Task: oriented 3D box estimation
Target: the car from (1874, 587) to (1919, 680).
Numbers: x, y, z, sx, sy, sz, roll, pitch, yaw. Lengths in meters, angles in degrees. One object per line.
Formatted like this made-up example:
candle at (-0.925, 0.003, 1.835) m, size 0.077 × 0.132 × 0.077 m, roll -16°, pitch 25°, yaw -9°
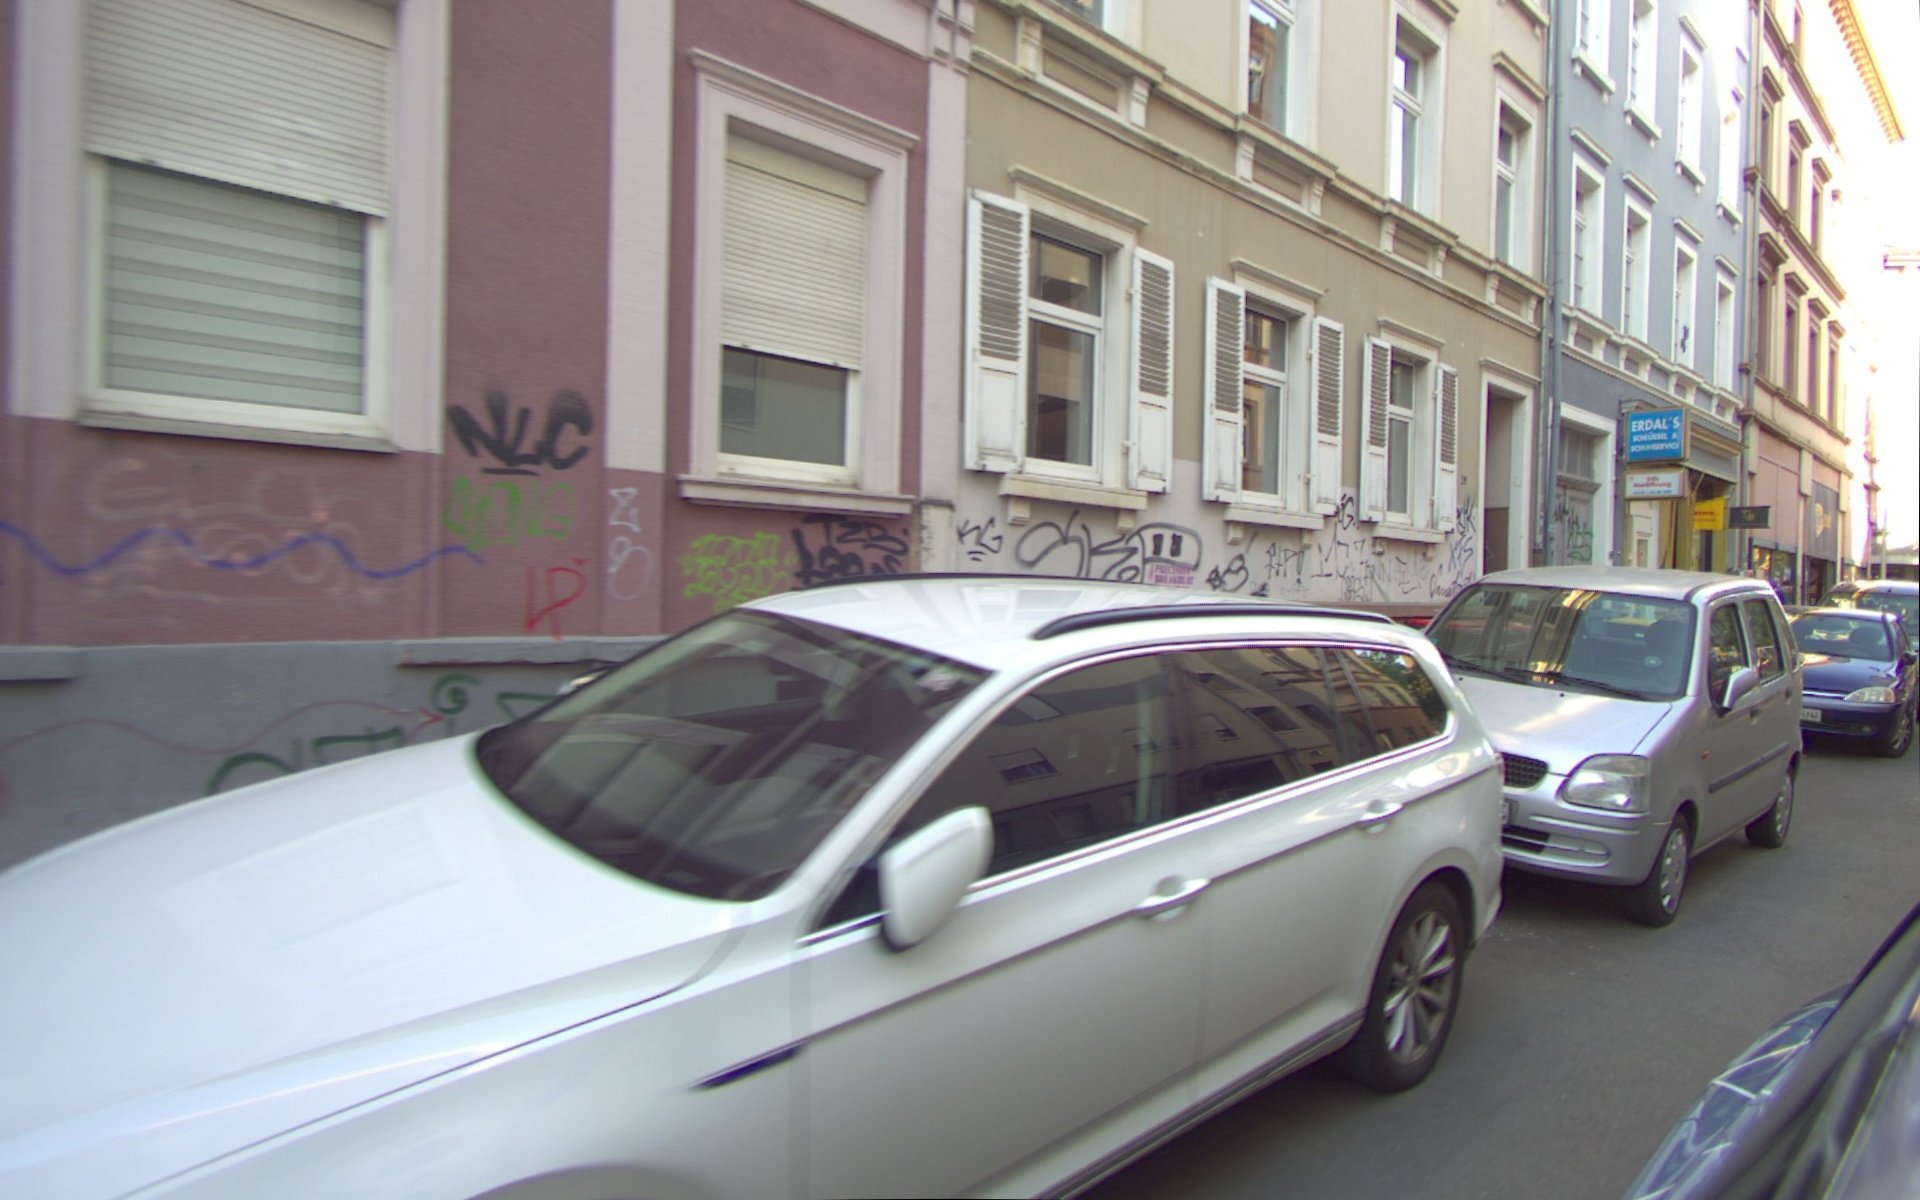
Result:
car at (18.153, 0.607, 18.503) m, size 3.254 × 1.575 × 1.574 m, roll -1°, pitch 4°, yaw -39°

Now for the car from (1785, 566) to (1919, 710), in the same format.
car at (13.520, 0.462, 14.546) m, size 4.240 × 1.816 × 1.902 m, roll -1°, pitch 0°, yaw -41°

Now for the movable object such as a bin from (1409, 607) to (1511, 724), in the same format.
movable object such as a bin at (5.167, 0.652, 10.468) m, size 0.549 × 1.101 × 0.754 m, roll 0°, pitch 3°, yaw -41°

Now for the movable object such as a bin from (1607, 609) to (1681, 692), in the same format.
movable object such as a bin at (9.753, 0.700, 14.428) m, size 0.674 × 1.105 × 0.726 m, roll 0°, pitch 1°, yaw -43°

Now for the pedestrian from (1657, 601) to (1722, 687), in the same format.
pedestrian at (11.348, 0.665, 15.749) m, size 0.617 × 1.293 × 0.677 m, roll 0°, pitch 0°, yaw -39°

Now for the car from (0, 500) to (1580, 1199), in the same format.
car at (0.007, 0.623, 2.896) m, size 4.549 × 1.562 × 1.700 m, roll -1°, pitch 3°, yaw -41°

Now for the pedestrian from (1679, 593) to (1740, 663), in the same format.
pedestrian at (12.471, 0.451, 16.848) m, size 0.642 × 1.139 × 0.677 m, roll 0°, pitch 0°, yaw -39°

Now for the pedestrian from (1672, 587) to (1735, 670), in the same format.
pedestrian at (11.970, 0.437, 16.292) m, size 0.642 × 1.293 × 0.677 m, roll 0°, pitch 0°, yaw -39°

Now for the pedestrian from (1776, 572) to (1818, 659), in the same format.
pedestrian at (17.259, 0.313, 20.876) m, size 0.627 × 1.762 × 0.650 m, roll 0°, pitch 0°, yaw 37°

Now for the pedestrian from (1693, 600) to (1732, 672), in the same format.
pedestrian at (13.260, 0.629, 17.835) m, size 0.505 × 1.238 × 0.439 m, roll 0°, pitch 0°, yaw -39°

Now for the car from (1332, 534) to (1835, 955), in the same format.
car at (3.788, 0.576, 5.923) m, size 3.497 × 1.733 × 1.559 m, roll -1°, pitch 0°, yaw -41°

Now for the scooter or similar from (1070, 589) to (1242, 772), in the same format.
scooter or similar at (1.455, 0.535, 7.409) m, size 1.345 × 1.196 × 0.451 m, roll 0°, pitch 5°, yaw -41°

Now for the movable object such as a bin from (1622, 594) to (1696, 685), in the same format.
movable object such as a bin at (10.293, 0.561, 14.905) m, size 0.570 × 1.259 × 0.763 m, roll 0°, pitch 2°, yaw -43°

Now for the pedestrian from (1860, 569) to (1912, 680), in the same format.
pedestrian at (14.968, 0.390, 16.372) m, size 0.422 × 1.762 × 0.559 m, roll 0°, pitch 0°, yaw 20°

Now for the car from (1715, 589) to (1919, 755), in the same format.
car at (9.651, 0.652, 11.157) m, size 3.551 × 1.530 × 1.554 m, roll -1°, pitch 0°, yaw -44°

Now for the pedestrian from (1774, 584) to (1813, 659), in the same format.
pedestrian at (17.637, 0.438, 21.406) m, size 0.587 × 1.549 × 0.648 m, roll 0°, pitch 0°, yaw 44°
